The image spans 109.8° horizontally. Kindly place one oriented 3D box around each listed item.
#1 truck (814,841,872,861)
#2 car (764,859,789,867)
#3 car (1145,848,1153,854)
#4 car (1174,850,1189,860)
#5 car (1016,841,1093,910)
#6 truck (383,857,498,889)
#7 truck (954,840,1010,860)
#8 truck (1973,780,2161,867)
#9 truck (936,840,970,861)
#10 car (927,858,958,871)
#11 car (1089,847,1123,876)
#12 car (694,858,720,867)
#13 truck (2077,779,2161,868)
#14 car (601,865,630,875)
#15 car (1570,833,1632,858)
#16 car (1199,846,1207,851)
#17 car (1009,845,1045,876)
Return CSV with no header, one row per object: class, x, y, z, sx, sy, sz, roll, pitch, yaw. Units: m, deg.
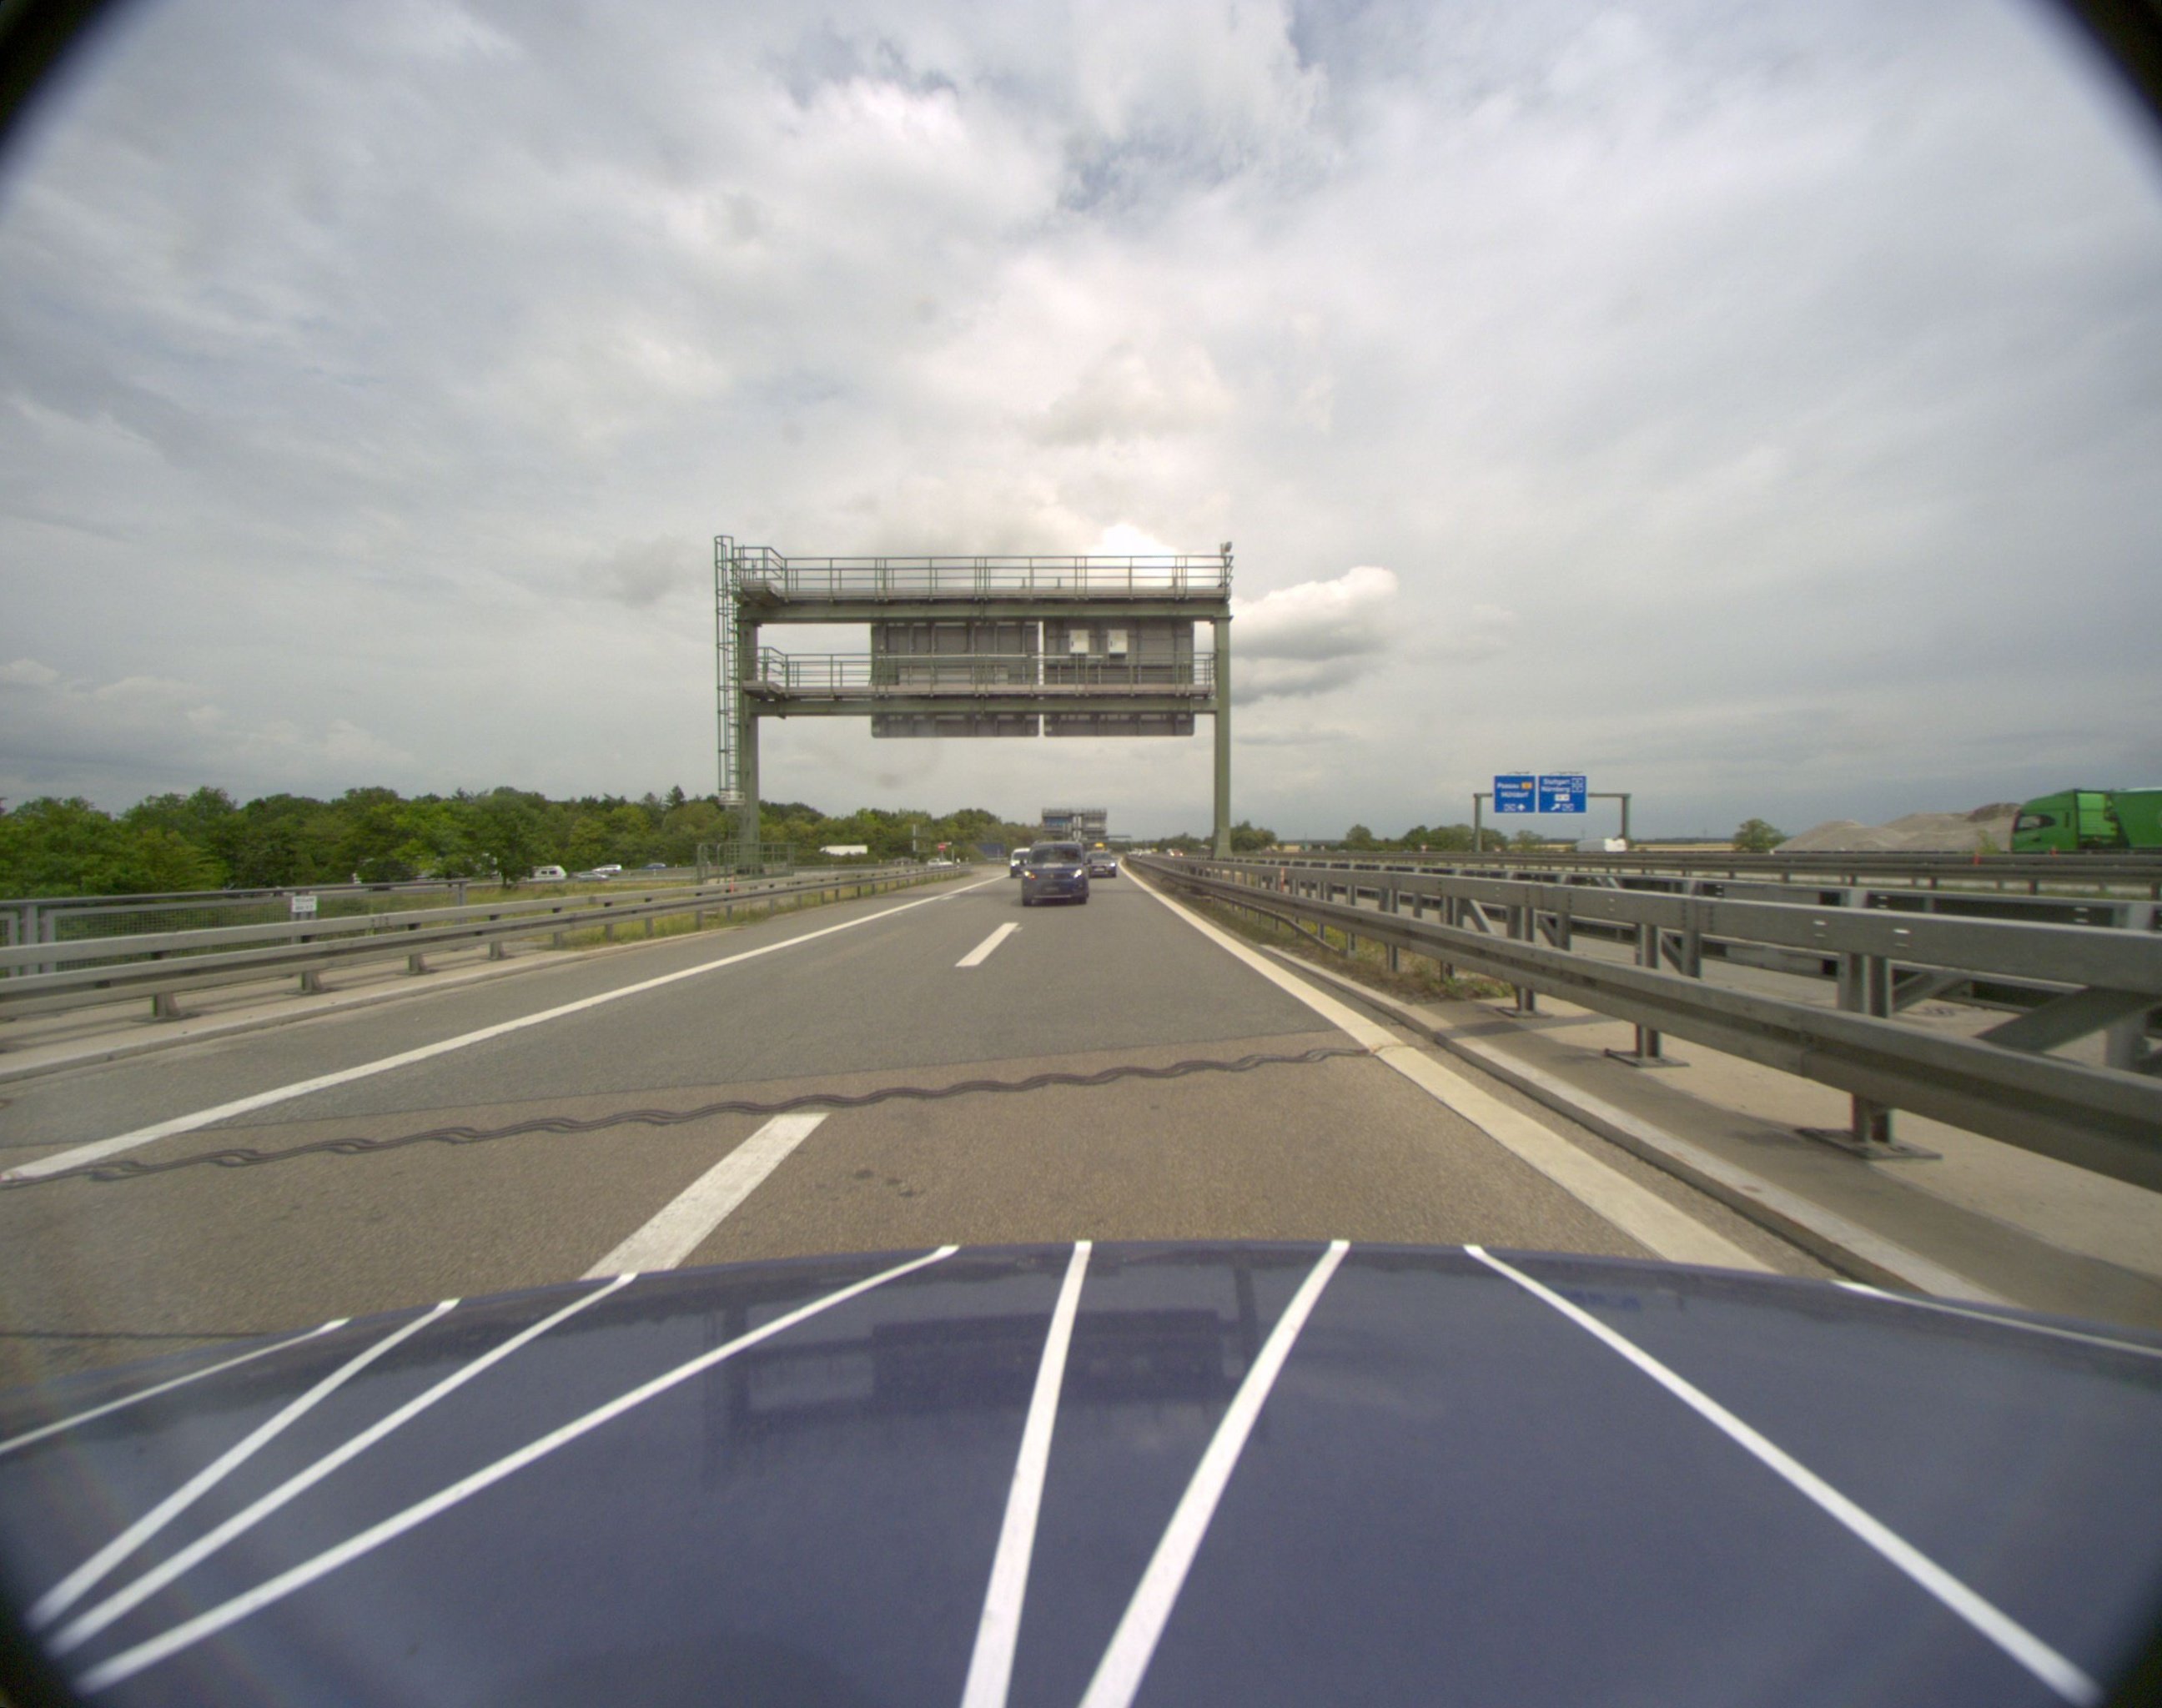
truck,-44.120,-0.643,140.926,9.886,3.383,2.690,-2,1,-23
car,-54.760,1.641,136.731,4.003,1.392,1.556,-2,1,-20
car,21.588,-0.953,241.499,1.998,2.002,4.465,-2,0,1
car,16.631,0.093,126.244,1.824,1.537,4.354,-2,0,-1
car,-0.692,0.560,22.488,1.998,1.783,4.000,-2,0,1
truck,-97.745,2.851,116.339,13.036,4.218,2.689,-2,1,-32
truck,-20.229,-0.860,155.884,11.815,3.836,2.839,-2,1,-43
truck,45.521,-1.319,34.518,3.049,3.588,5.893,-2,1,0
truck,-25.436,-0.701,150.909,5.939,3.780,2.894,-2,0,-43
car,-17.802,1.386,97.760,1.729,1.532,4.471,-3,1,-43
car,1.344,0.372,41.504,1.747,1.381,3.999,-2,1,1
car,-65.520,1.500,133.198,4.004,1.442,1.556,-2,1,-23
truck,45.462,-1.280,28.313,3.020,3.614,10.436,-2,0,0
car,-77.827,2.687,127.150,4.005,1.485,1.555,-2,1,-28
car,49.947,-0.777,73.157,2.201,2.210,5.517,-2,0,1
car,41.064,-1.821,255.424,1.831,1.849,3.998,-2,0,-3
car,-3.300,0.356,47.233,1.862,1.735,3.999,-2,1,0
